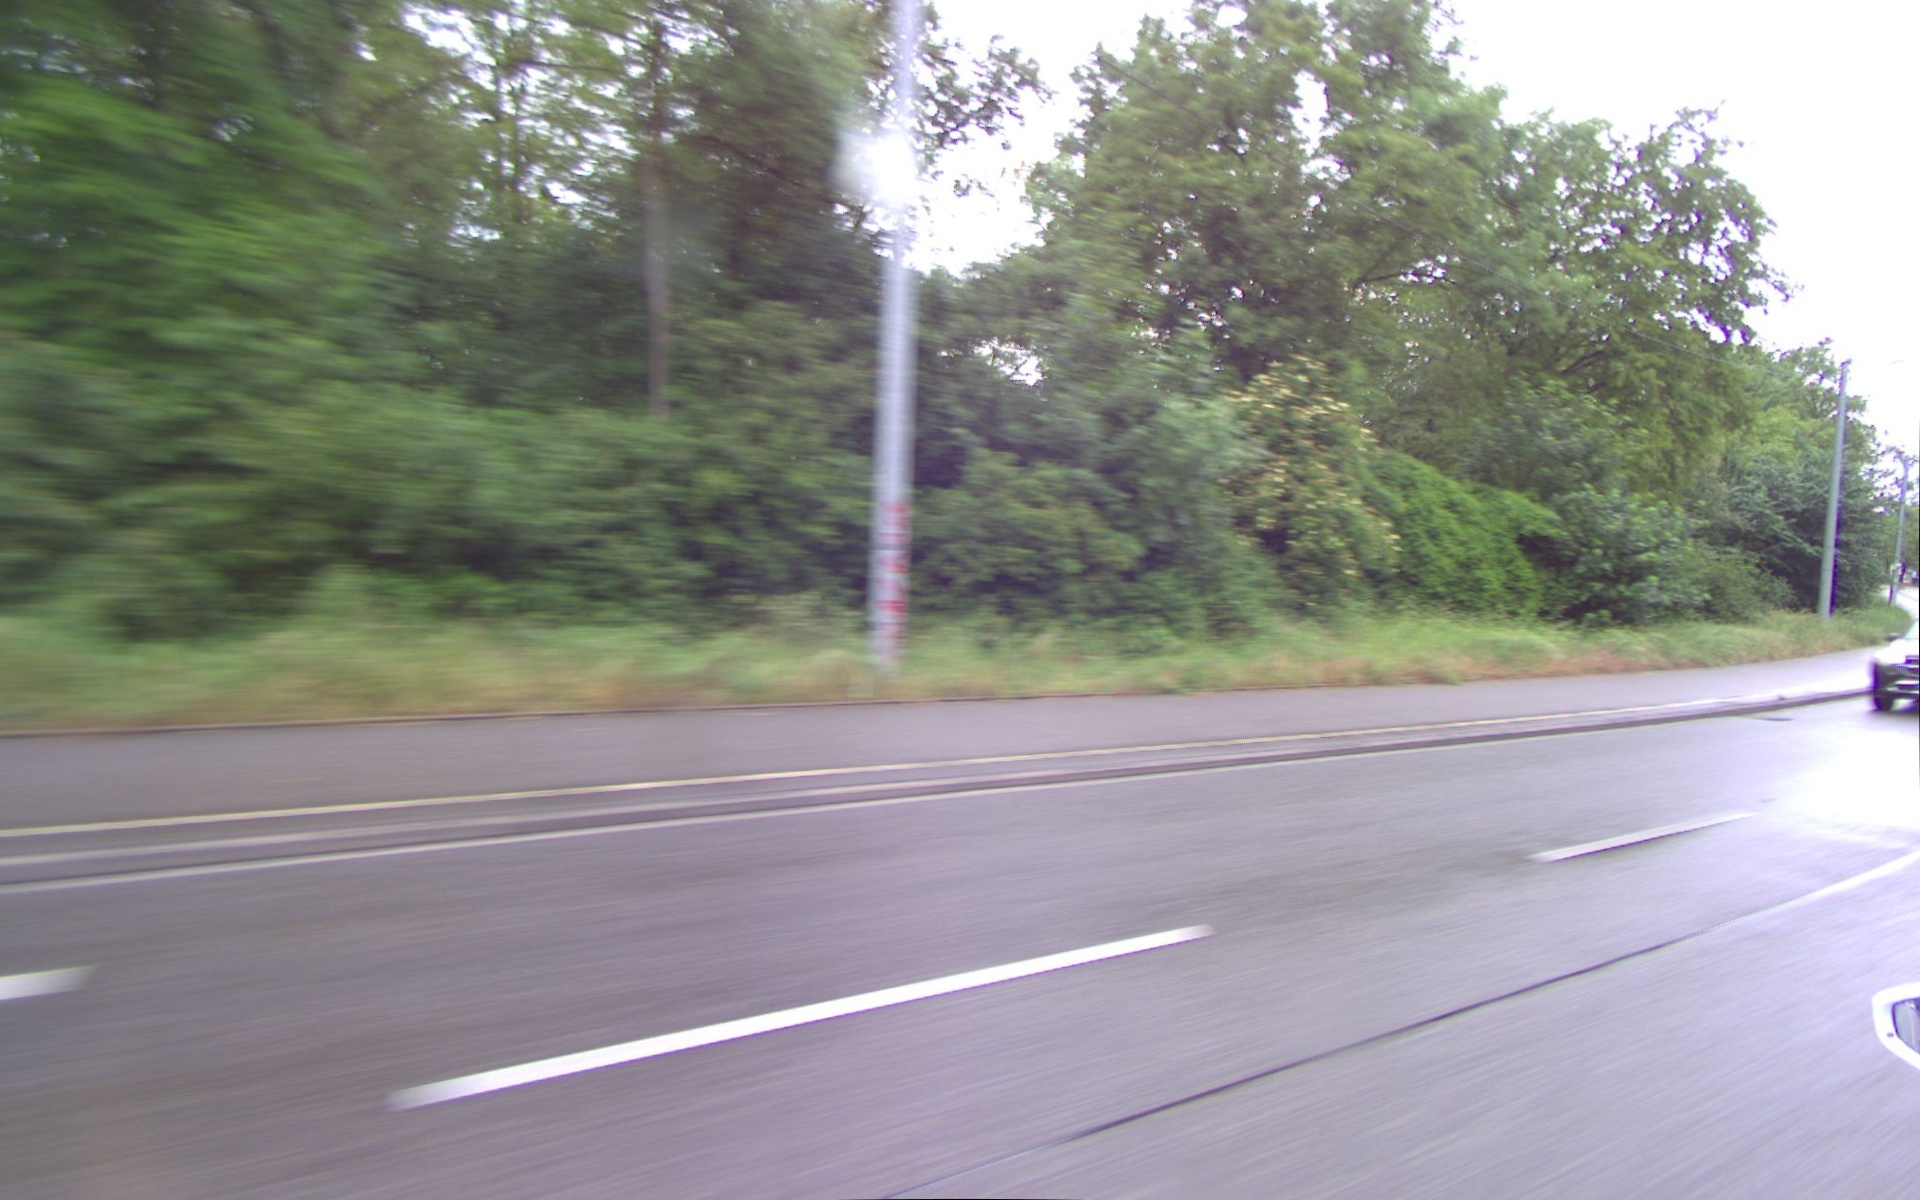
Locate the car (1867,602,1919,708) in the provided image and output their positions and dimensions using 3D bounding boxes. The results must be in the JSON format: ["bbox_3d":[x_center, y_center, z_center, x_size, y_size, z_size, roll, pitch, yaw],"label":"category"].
[{"bbox_3d":[16.799,0.906,16.562,4.473,1.616,1.796,1,1,-36],"label":"car"}]
